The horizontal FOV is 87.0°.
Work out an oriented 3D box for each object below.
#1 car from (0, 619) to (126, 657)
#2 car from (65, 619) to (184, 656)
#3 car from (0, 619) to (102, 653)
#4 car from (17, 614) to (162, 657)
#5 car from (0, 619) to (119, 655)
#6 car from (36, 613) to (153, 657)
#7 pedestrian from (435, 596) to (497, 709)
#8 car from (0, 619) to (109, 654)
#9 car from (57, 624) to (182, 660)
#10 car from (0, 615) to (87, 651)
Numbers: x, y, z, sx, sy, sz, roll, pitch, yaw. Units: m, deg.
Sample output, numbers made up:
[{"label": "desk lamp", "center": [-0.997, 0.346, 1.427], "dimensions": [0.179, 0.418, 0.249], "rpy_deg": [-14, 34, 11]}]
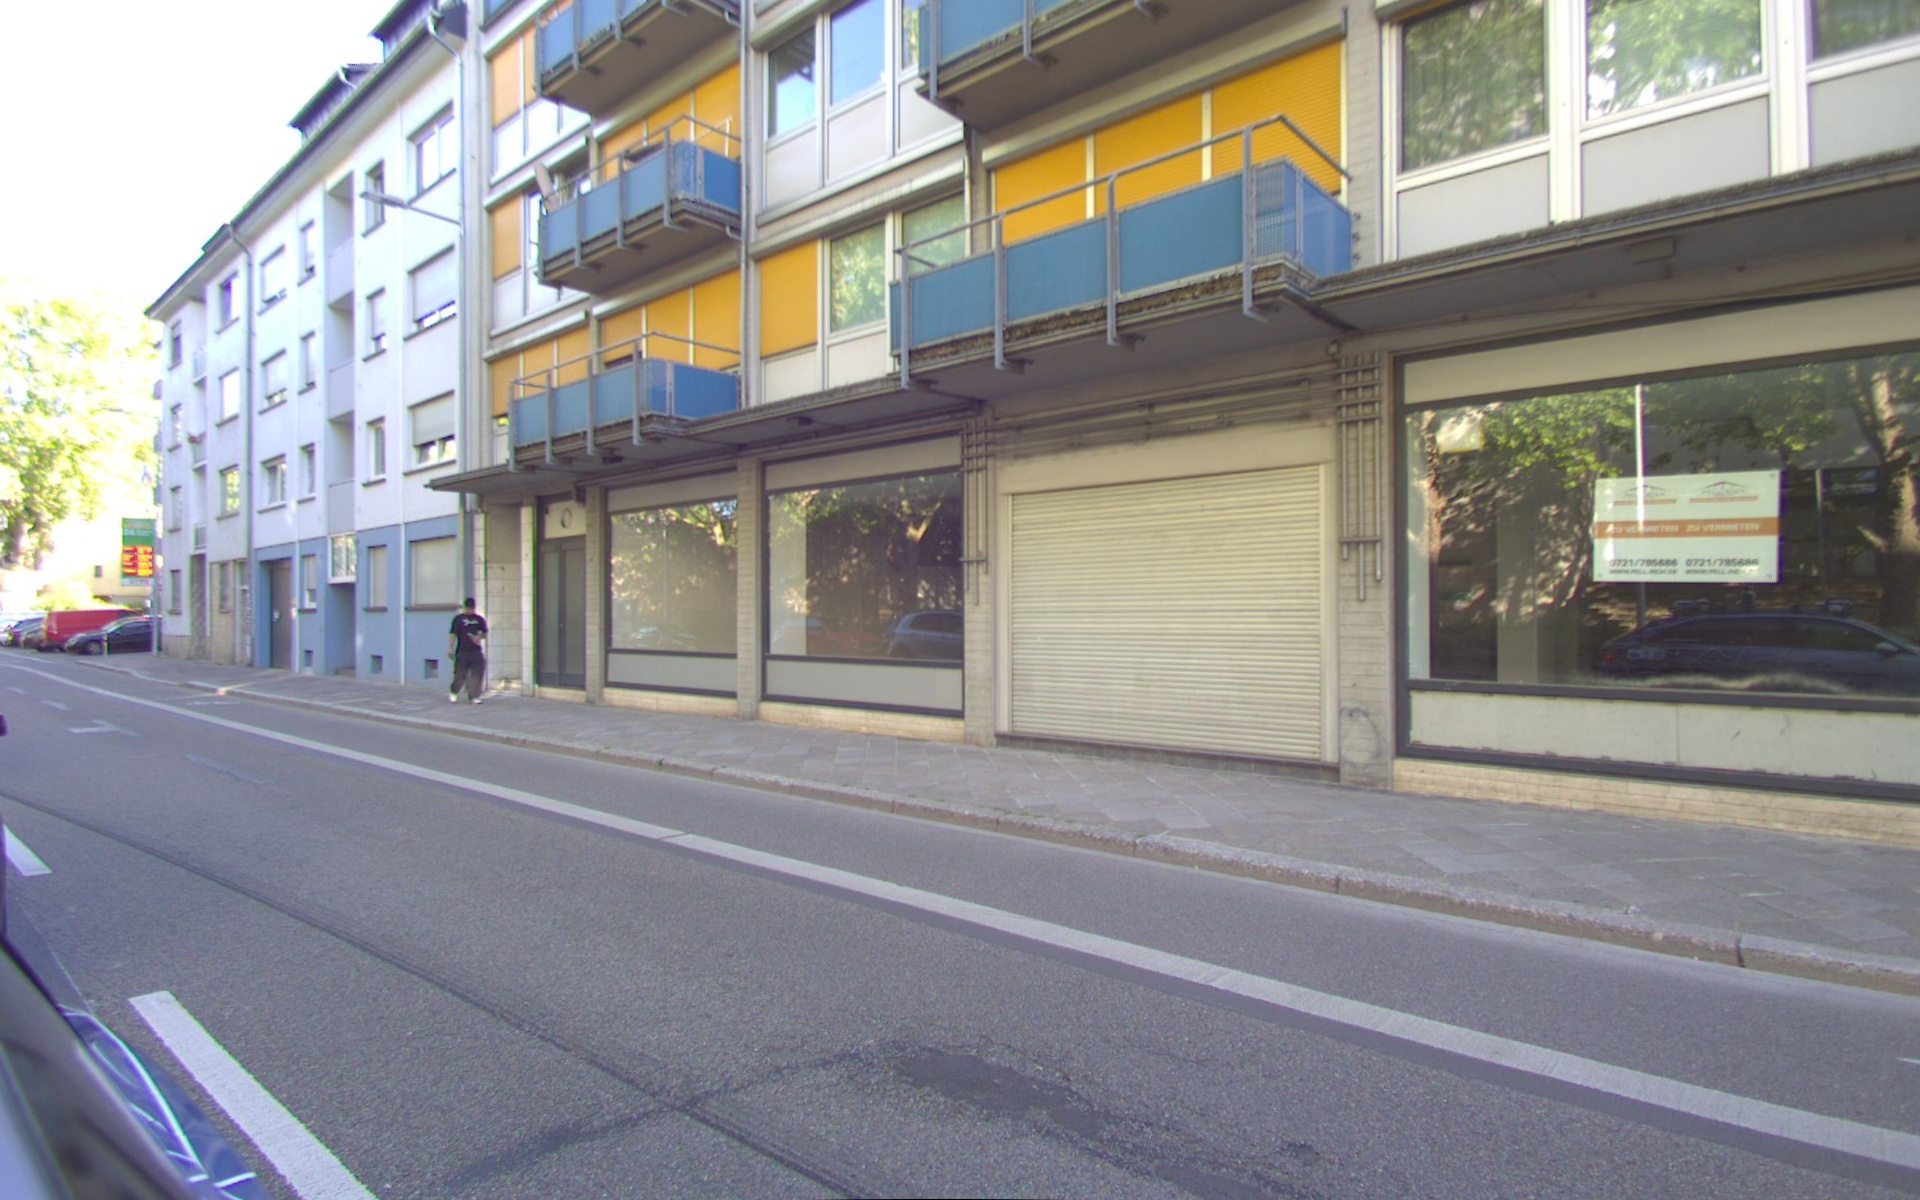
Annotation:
[{"label": "car", "center": [-50.307, 2.078, 56.846], "dimensions": [2.186, 1.952, 5.077], "rpy_deg": [-1, -1, 41]}, {"label": "car", "center": [-37.886, 1.669, 45.958], "dimensions": [1.742, 1.572, 3.946], "rpy_deg": [-1, -1, 41]}, {"label": "car", "center": [-55.980, 2.149, 62.002], "dimensions": [2.314, 1.952, 4.978], "rpy_deg": [-1, -1, 41]}, {"label": "car", "center": [-42.700, 1.692, 49.730], "dimensions": [2.256, 1.995, 5.156], "rpy_deg": [-1, -1, 41]}, {"label": "car", "center": [-52.246, 2.100, 58.734], "dimensions": [2.159, 1.952, 4.990], "rpy_deg": [-1, -1, 41]}, {"label": "car", "center": [-40.599, 1.625, 47.532], "dimensions": [1.866, 1.952, 3.946], "rpy_deg": [-1, -1, 41]}, {"label": "pedestrian", "center": [-8.101, 0.843, 16.587], "dimensions": [0.793, 1.785, 0.654], "rpy_deg": [-2, -1, 42]}, {"label": "car", "center": [-54.132, 2.122, 60.370], "dimensions": [2.082, 1.952, 4.928], "rpy_deg": [-1, -1, 41]}, {"label": "car", "center": [-36.562, 1.779, 44.093], "dimensions": [1.742, 1.431, 3.946], "rpy_deg": [-1, -1, 41]}, {"label": "car", "center": [-59.354, 2.089, 64.728], "dimensions": [2.186, 2.164, 5.077], "rpy_deg": [-1, -1, 41]}]
